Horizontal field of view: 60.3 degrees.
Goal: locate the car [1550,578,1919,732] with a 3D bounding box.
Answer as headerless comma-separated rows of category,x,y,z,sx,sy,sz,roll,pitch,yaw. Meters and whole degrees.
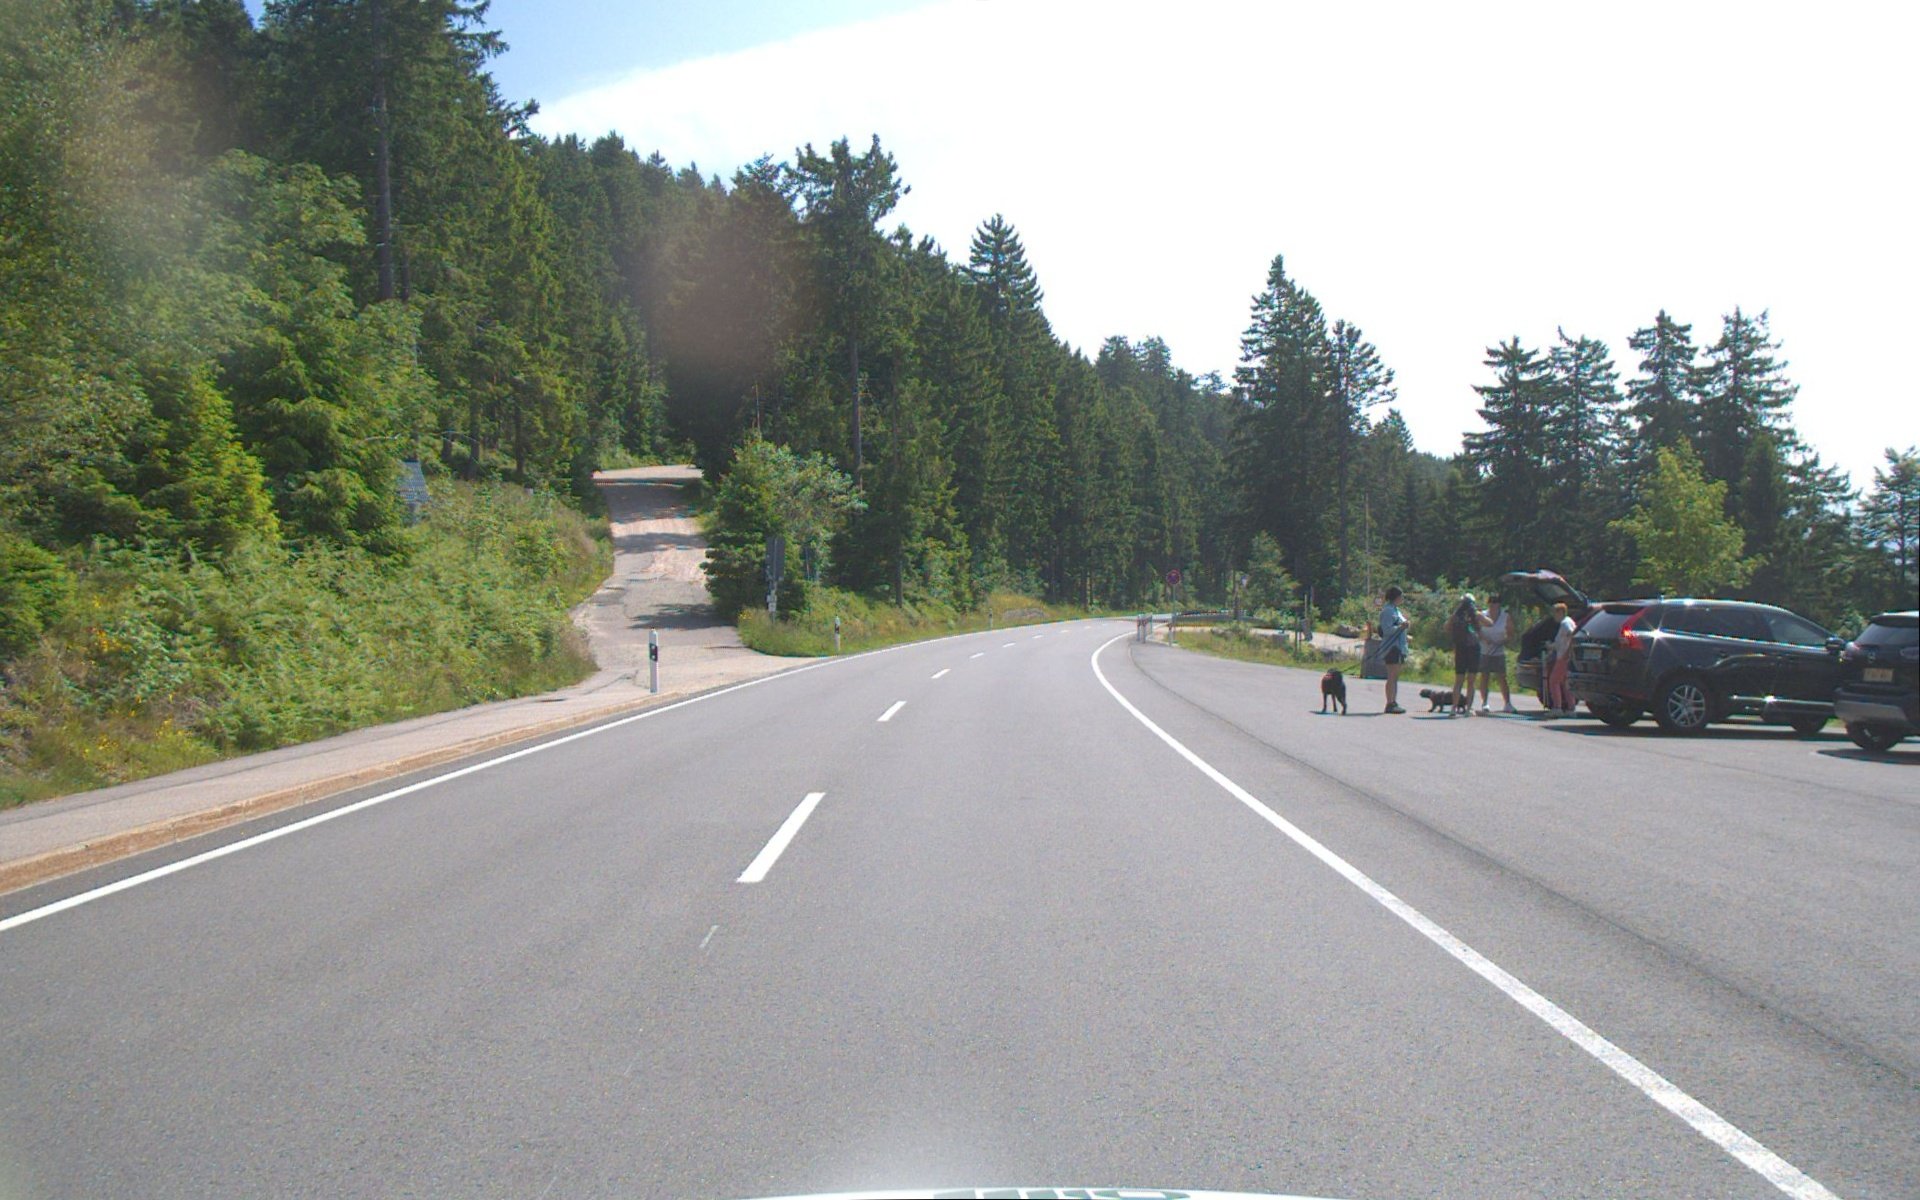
car,10.036,0.673,21.305,4.180,1.825,1.891,0,2,-5

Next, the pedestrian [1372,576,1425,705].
pedestrian,6.217,0.560,23.465,0.604,1.806,0.724,0,0,5

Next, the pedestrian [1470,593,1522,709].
pedestrian,8.001,0.755,24.698,0.638,1.689,0.688,-1,1,11

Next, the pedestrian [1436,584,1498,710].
pedestrian,7.059,0.646,23.053,0.701,1.722,0.619,0,0,5

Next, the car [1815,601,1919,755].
car,11.631,0.819,18.242,3.681,1.594,1.597,0,0,-8

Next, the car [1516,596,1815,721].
car,10.403,0.844,24.508,3.744,1.690,1.650,2,0,-7

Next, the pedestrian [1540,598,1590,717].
pedestrian,8.469,0.798,23.159,0.604,1.615,0.736,-1,1,17
